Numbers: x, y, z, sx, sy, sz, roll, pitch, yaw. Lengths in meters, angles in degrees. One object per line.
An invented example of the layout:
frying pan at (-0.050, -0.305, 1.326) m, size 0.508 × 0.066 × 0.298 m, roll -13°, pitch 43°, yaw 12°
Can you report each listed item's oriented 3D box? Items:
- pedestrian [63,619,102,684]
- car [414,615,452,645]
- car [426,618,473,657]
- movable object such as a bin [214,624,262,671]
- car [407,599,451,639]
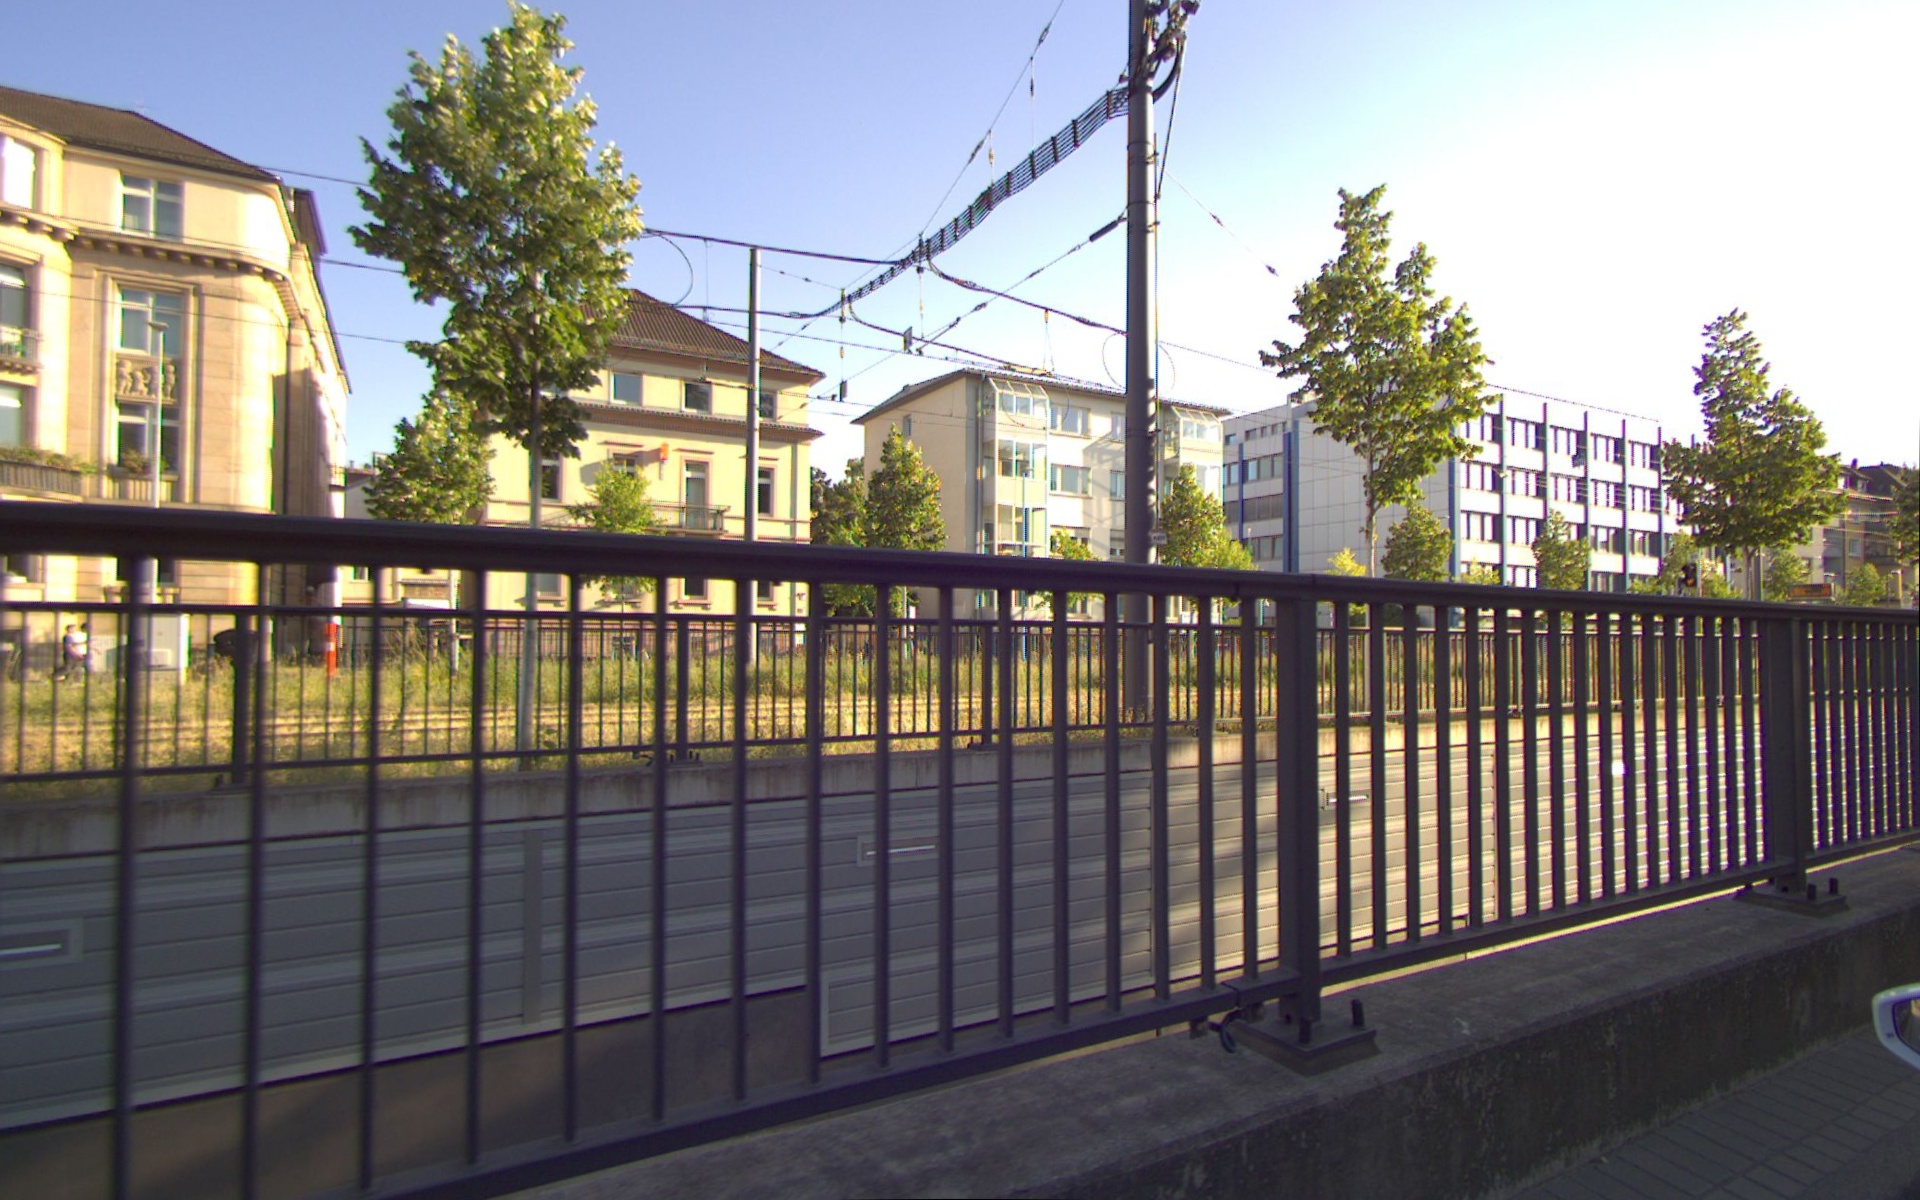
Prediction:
pedestrian at (-23.805, 1.386, 27.256) m, size 0.645 × 1.743 × 0.553 m, roll 1°, pitch -2°, yaw -30°
car at (-28.006, 1.568, 53.408) m, size 1.661 × 1.488 × 3.971 m, roll 2°, pitch -1°, yaw -28°
car at (-21.547, 1.553, 42.375) m, size 1.661 × 1.488 × 3.971 m, roll 2°, pitch -1°, yaw -28°
movable object such as a bin at (-22.831, 1.493, 31.783) m, size 1.067 × 1.447 × 1.200 m, roll 1°, pitch -2°, yaw -30°
car at (-32.419, 1.108, 61.384) m, size 2.220 × 2.299 × 4.547 m, roll 2°, pitch -1°, yaw -28°
